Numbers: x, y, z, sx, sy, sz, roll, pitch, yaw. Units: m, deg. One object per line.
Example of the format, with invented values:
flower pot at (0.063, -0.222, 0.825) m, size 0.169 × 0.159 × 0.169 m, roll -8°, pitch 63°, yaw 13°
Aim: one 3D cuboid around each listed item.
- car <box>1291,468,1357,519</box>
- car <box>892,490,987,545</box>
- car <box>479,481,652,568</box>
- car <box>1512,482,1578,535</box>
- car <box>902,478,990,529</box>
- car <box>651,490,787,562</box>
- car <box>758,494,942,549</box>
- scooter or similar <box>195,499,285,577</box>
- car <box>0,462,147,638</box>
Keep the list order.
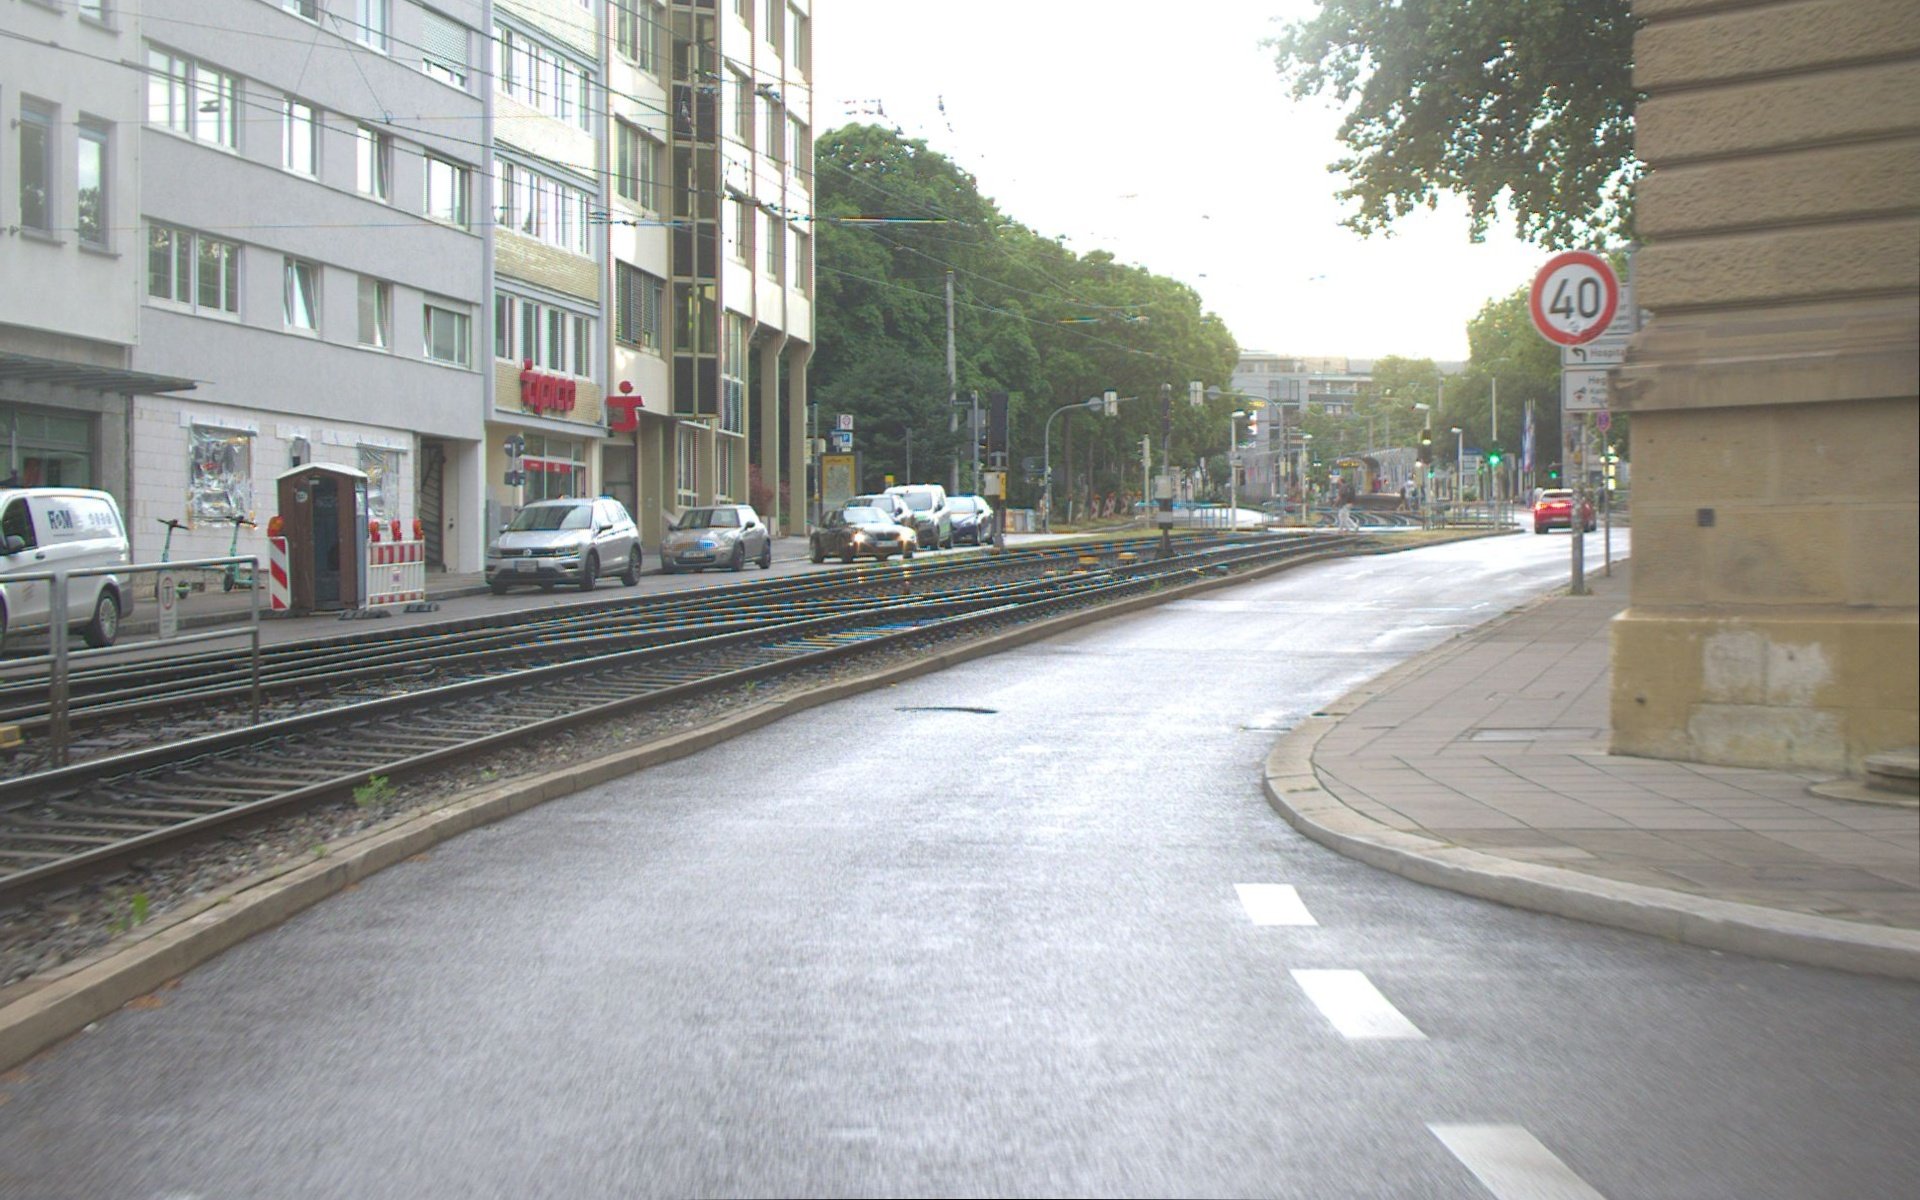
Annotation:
car at (12.098, -3.538, 114.223) m, size 1.994 × 1.656 × 3.999 m, roll 1°, pitch 2°, yaw 8°
car at (-0.534, -2.274, 94.642) m, size 1.994 × 1.451 × 4.310 m, roll 1°, pitch 2°, yaw 8°
car at (-6.904, -1.342, 60.634) m, size 1.994 × 1.451 × 4.310 m, roll 1°, pitch 2°, yaw 8°
car at (18.978, -2.967, 111.695) m, size 1.994 × 1.656 × 3.999 m, roll 1°, pitch 2°, yaw 8°
car at (-0.385, -2.854, 101.250) m, size 1.994 × 1.451 × 4.310 m, roll 1°, pitch 2°, yaw 8°
car at (-5.070, -1.583, 72.779) m, size 1.994 × 1.451 × 4.310 m, roll 1°, pitch 2°, yaw 8°
car at (-2.513, -1.786, 77.806) m, size 1.994 × 1.159 × 4.310 m, roll -1°, pitch 2°, yaw -38°
scooter or similar at (-11.557, -1.006, 55.245) m, size 0.765 × 1.215 × 2.065 m, roll 1°, pitch 2°, yaw 8°
car at (-10.999, -0.599, 38.542) m, size 1.994 × 1.876 × 4.926 m, roll 1°, pitch 2°, yaw 8°
